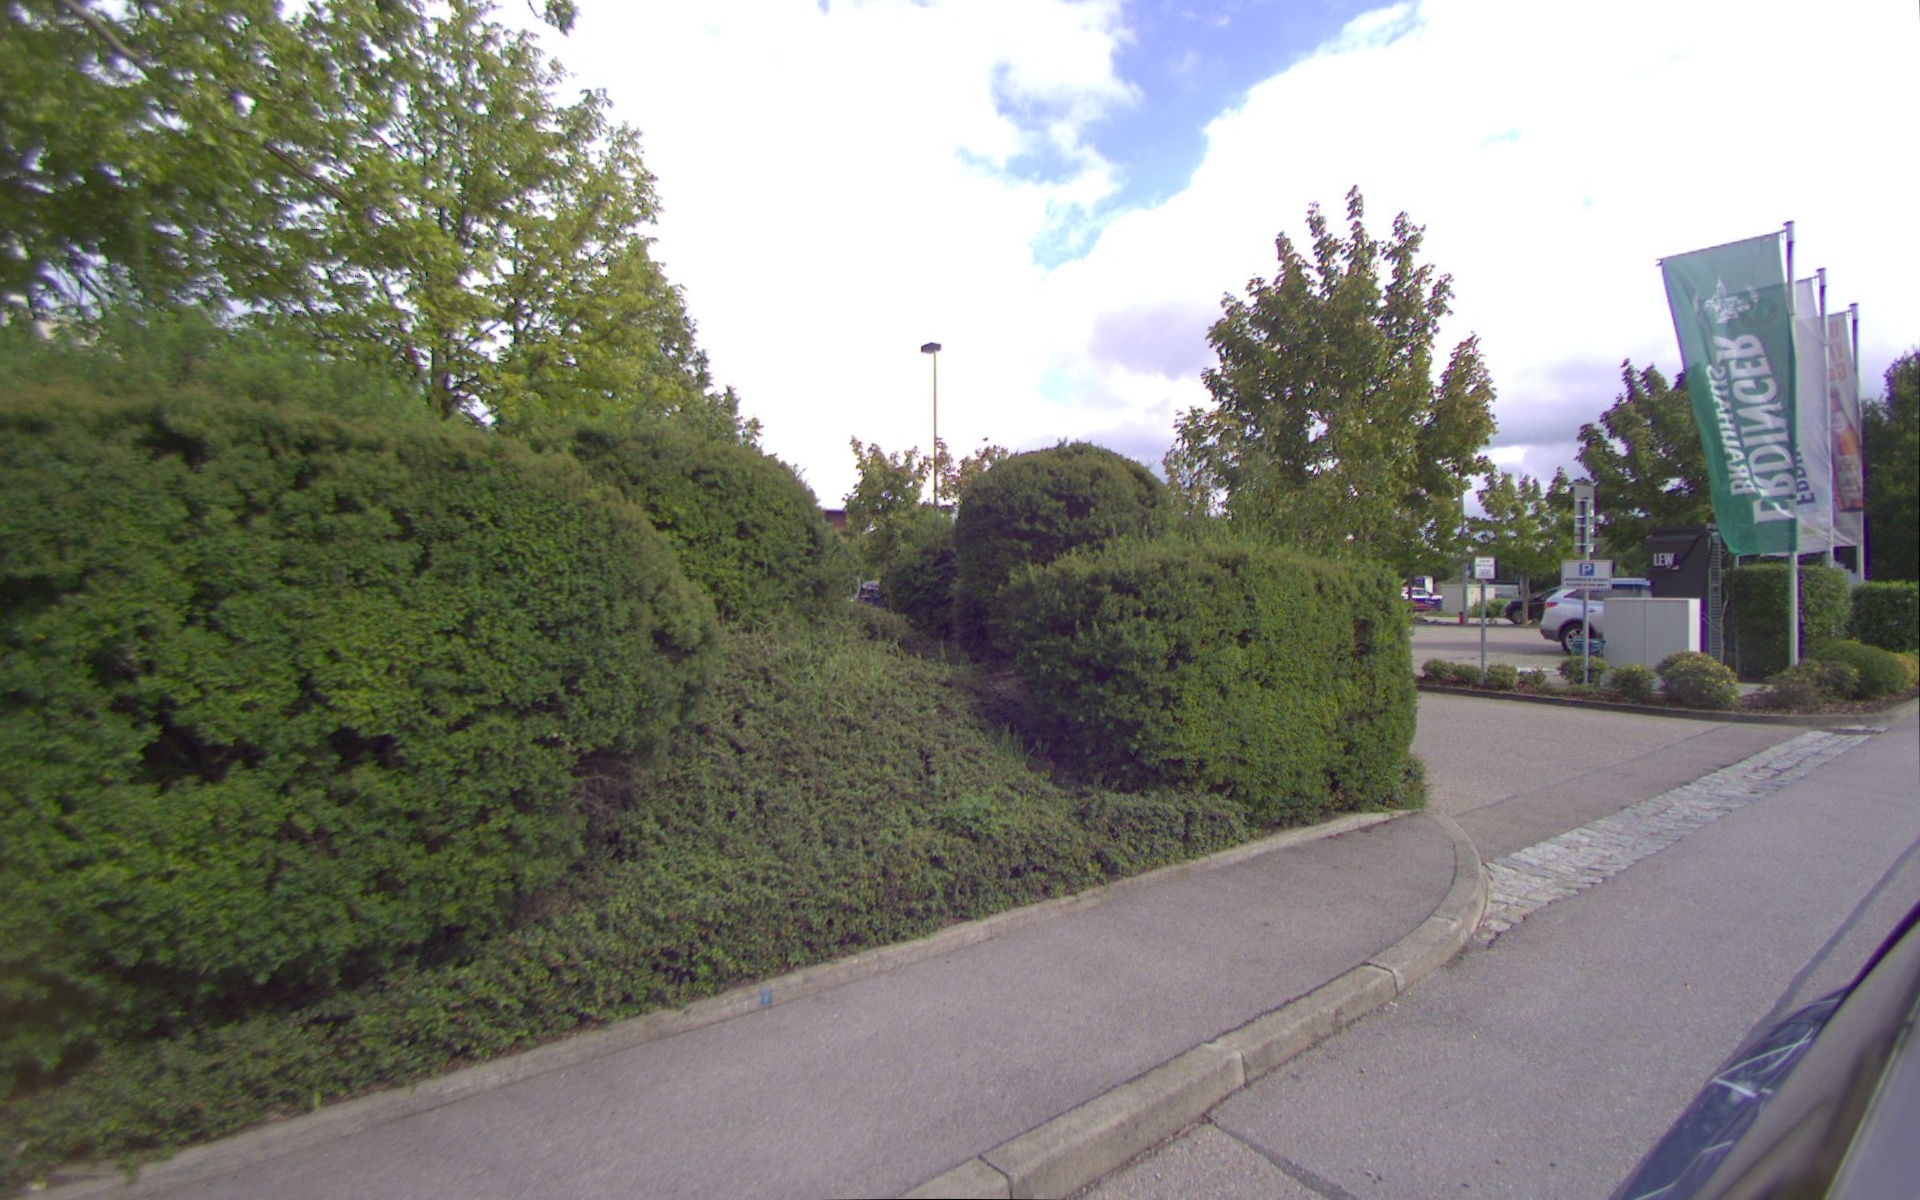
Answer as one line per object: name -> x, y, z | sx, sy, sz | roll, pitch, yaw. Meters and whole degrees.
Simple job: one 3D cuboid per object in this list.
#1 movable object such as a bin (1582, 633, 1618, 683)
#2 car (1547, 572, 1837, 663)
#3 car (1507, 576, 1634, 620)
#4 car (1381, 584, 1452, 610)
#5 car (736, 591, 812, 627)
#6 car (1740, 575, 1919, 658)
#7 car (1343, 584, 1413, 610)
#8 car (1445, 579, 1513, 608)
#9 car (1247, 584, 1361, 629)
movable object such as a bin -> 9.220, 0.836, 14.576 | 0.360, 0.693, 0.289 | 0, -1, -29
car -> 15.462, 0.281, 21.696 | 1.880, 1.717, 4.686 | -1, 2, -29
car -> 25.861, -0.071, 43.024 | 1.624, 1.738, 4.366 | 0, 0, -32
car -> 27.387, -0.186, 60.709 | 3.917, 1.538, 1.609 | -1, 0, -23
car -> -8.196, 0.397, 44.417 | 1.789, 1.519, 3.844 | 0, 0, -36
car -> 20.262, 0.346, 22.456 | 1.624, 1.738, 4.366 | 0, 0, -32
car -> 25.889, -0.172, 62.678 | 3.917, 1.538, 1.719 | -1, 0, -23
car -> 29.840, -0.369, 58.159 | 3.921, 1.635, 1.724 | -1, 0, -32
car -> 13.086, 0.244, 38.708 | 1.958, 1.591, 4.007 | 0, 0, -23
